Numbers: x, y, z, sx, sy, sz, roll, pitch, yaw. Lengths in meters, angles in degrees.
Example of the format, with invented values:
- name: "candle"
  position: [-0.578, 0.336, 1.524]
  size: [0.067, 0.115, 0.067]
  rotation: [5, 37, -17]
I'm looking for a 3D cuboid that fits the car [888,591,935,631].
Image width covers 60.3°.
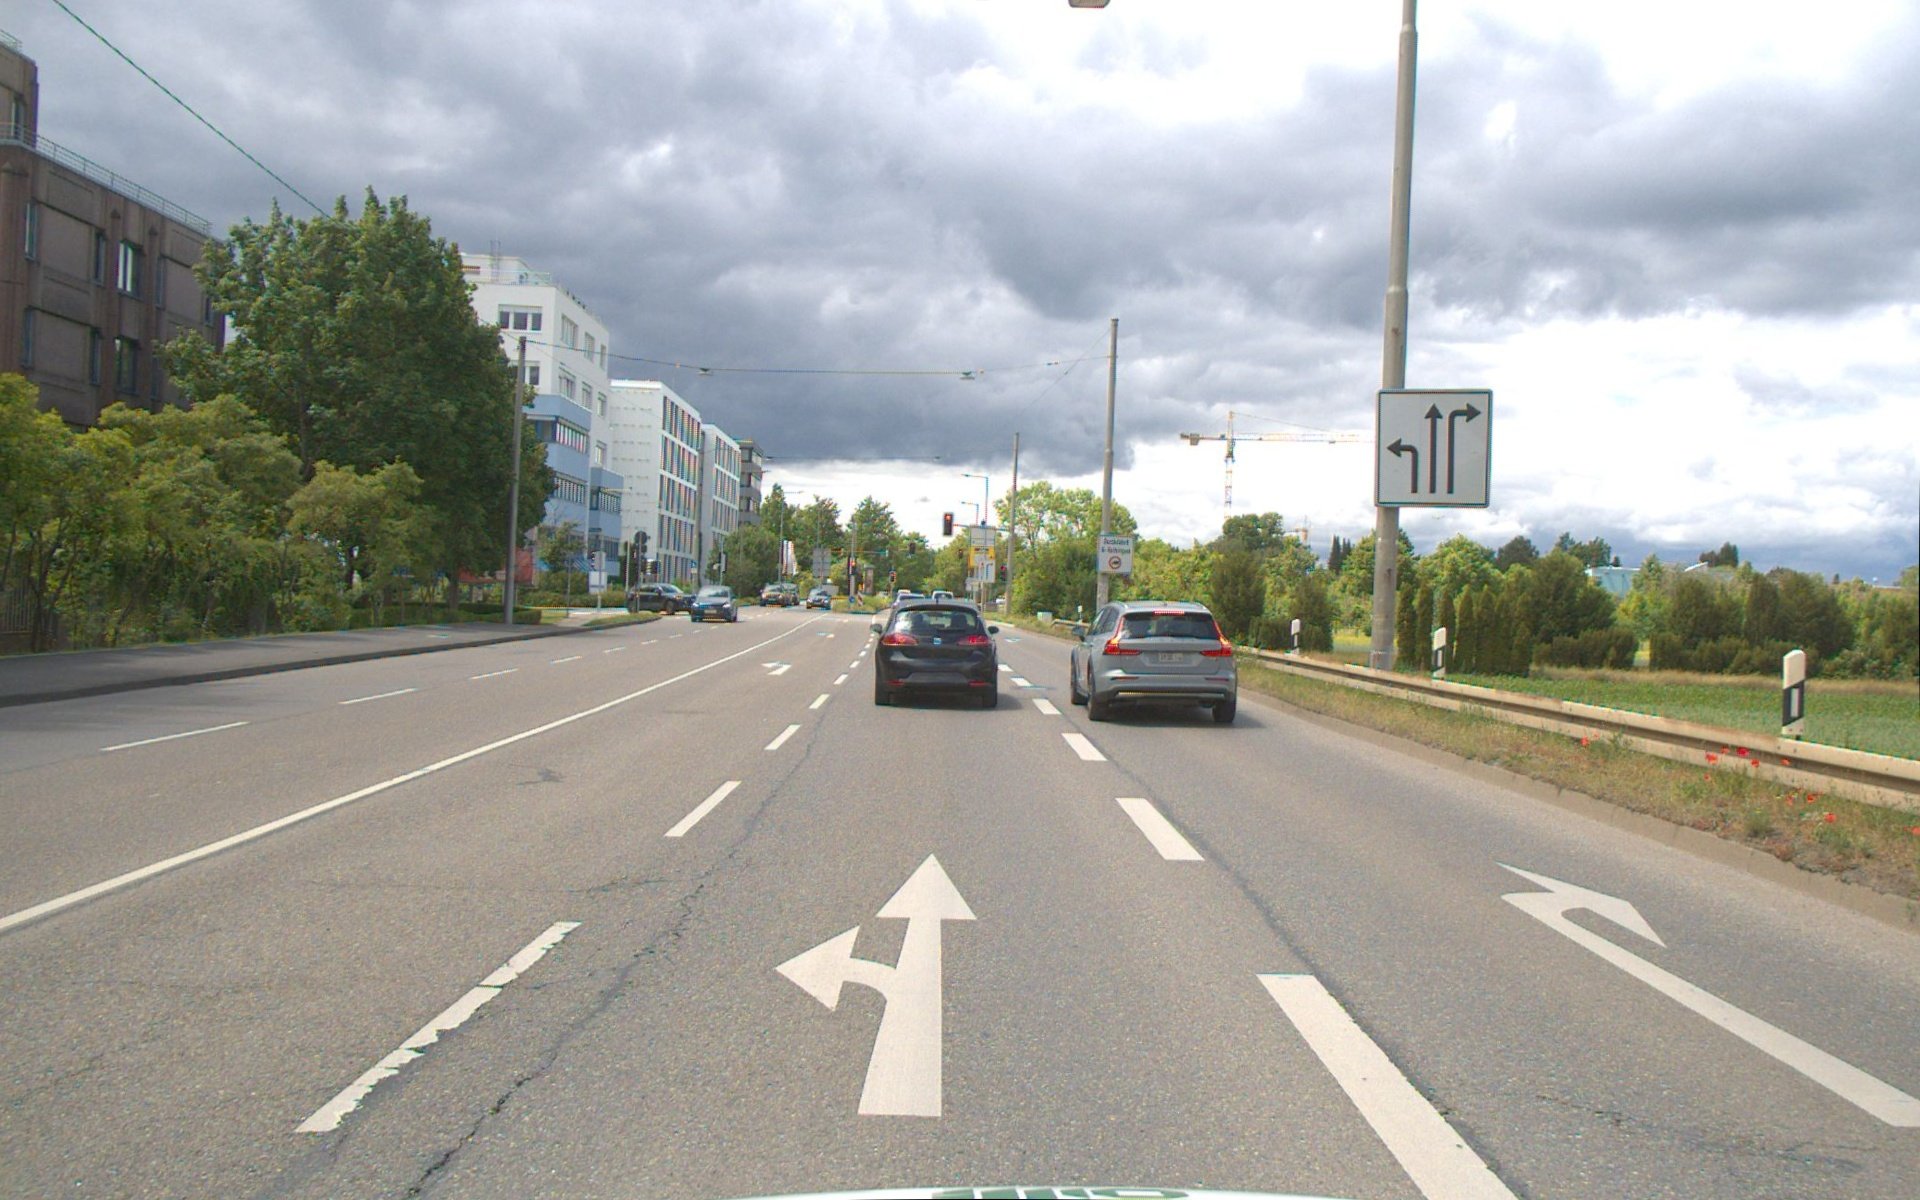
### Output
- name: "car"
  position: [-2.218, 0.486, 74.755]
  size: [1.944, 1.618, 4.223]
  rotation: [3, 1, -4]

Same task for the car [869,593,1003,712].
- name: "car"
  position: [-0.301, 0.708, 23.840]
  size: [1.712, 1.509, 4.000]
  rotation: [2, 0, 0]

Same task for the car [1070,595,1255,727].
- name: "car"
  position: [2.558, 0.742, 21.873]
  size: [1.918, 1.552, 4.340]
  rotation: [1, 0, 0]

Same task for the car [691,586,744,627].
- name: "car"
  position: [-10.649, 0.287, 72.822]
  size: [1.761, 1.612, 4.311]
  rotation: [5, -1, -3]

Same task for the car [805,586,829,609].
- name: "car"
  position: [-10.377, -0.191, 120.367]
  size: [1.635, 1.551, 4.006]
  rotation: [0, 1, -3]

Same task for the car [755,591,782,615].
- name: "car"
  position: [-14.005, 0.215, 121.309]
  size: [1.716, 1.659, 3.997]
  rotation: [0, 0, -3]

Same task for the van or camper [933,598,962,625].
- name: "van or camper"
  position: [-1.012, 0.873, 132.902]
  size: [1.862, 1.959, 3.996]
  rotation: [4, 0, -5]
